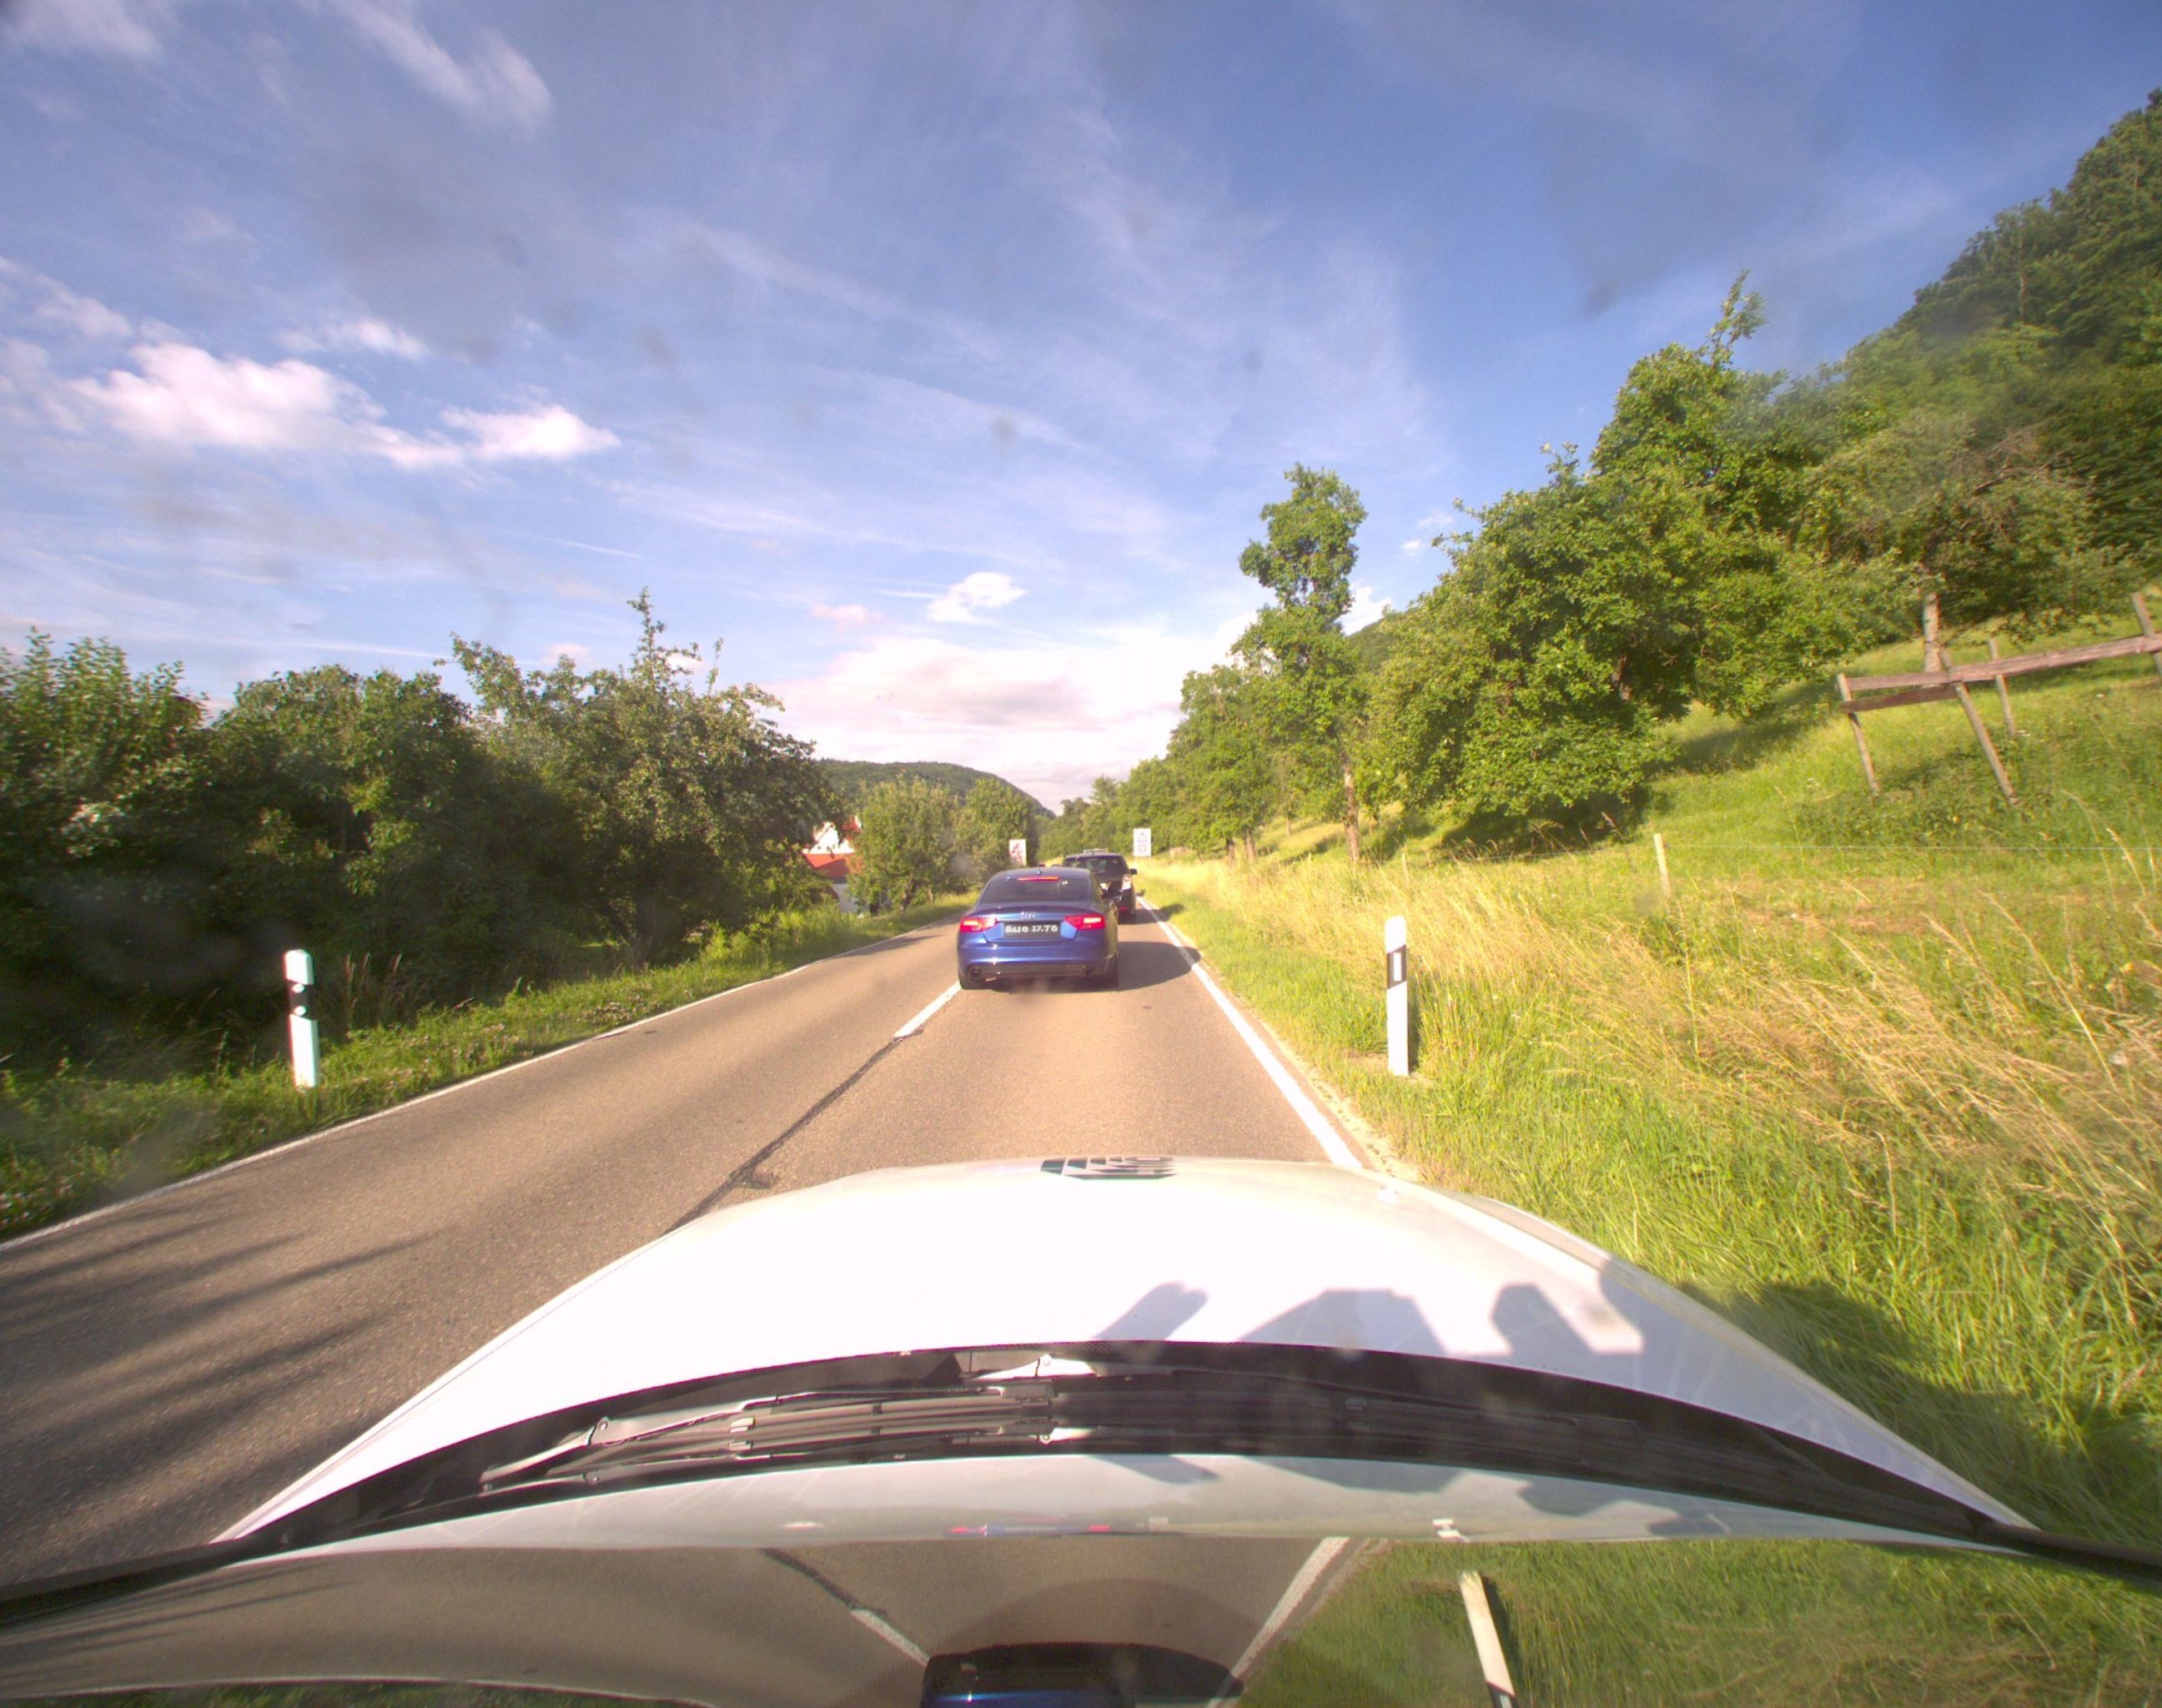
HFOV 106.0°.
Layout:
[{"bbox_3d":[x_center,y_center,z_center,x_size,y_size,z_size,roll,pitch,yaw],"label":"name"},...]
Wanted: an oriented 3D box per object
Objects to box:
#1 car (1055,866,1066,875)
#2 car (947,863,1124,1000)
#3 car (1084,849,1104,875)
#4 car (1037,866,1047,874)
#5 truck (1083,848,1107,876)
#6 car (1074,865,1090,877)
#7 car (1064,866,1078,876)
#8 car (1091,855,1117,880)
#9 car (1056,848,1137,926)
[{"bbox_3d":[-3.678,2.899,143.070,1.557,1.496,3.769,0,0,-7],"label":"car"},{"bbox_3d":[-0.392,0.820,10.497,1.799,1.382,4.216,-1,-1,2],"label":"car"},{"bbox_3d":[1.287,0.732,79.601,1.787,2.453,3.917,0,0,-1],"label":"car"},{"bbox_3d":[-7.784,3.182,163.341,1.559,1.496,3.764,0,0,-11],"label":"car"},{"bbox_3d":[1.182,0.689,69.770,1.943,2.345,5.094,0,0,1],"label":"truck"},{"bbox_3d":[0.110,2.289,110.013,1.746,1.496,3.769,0,0,-7],"label":"car"},{"bbox_3d":[-1.568,2.641,128.276,1.746,1.496,3.769,0,0,-6],"label":"car"},{"bbox_3d":[1.585,0.872,56.039,1.686,1.624,3.790,-1,0,1],"label":"car"},{"bbox_3d":[0.387,0.700,19.086,1.686,1.624,3.790,-1,0,1],"label":"car"}]
